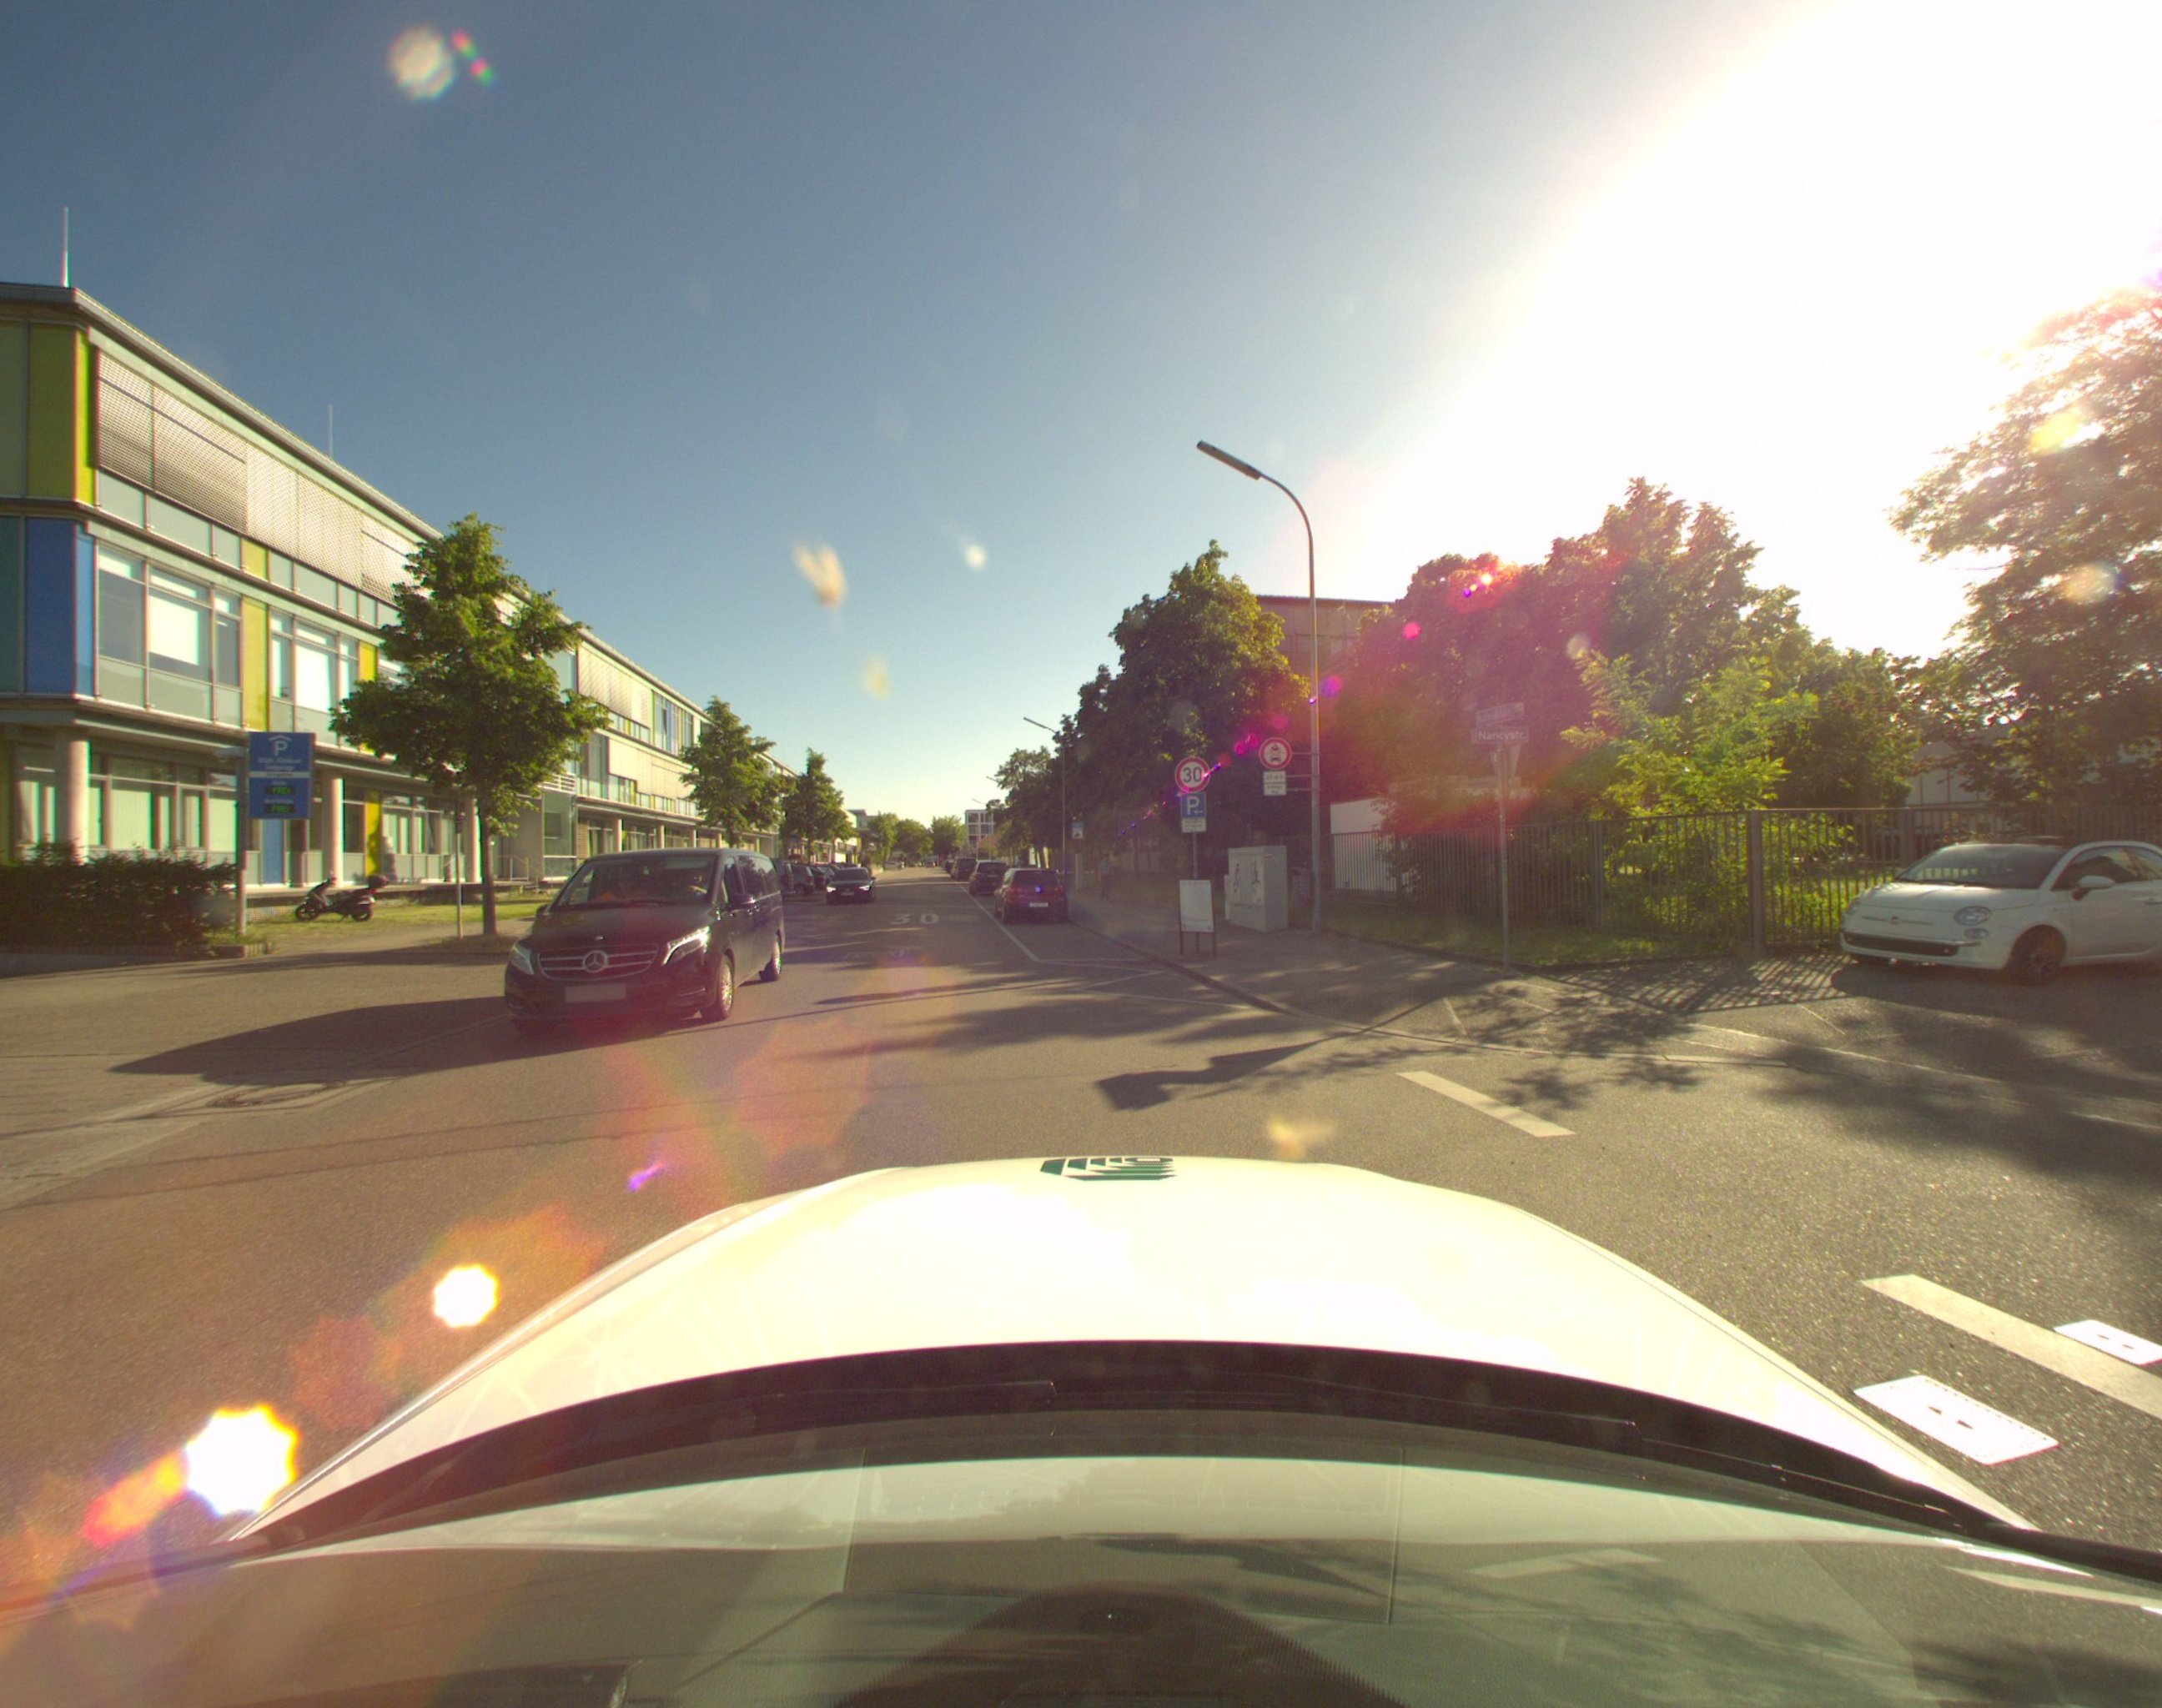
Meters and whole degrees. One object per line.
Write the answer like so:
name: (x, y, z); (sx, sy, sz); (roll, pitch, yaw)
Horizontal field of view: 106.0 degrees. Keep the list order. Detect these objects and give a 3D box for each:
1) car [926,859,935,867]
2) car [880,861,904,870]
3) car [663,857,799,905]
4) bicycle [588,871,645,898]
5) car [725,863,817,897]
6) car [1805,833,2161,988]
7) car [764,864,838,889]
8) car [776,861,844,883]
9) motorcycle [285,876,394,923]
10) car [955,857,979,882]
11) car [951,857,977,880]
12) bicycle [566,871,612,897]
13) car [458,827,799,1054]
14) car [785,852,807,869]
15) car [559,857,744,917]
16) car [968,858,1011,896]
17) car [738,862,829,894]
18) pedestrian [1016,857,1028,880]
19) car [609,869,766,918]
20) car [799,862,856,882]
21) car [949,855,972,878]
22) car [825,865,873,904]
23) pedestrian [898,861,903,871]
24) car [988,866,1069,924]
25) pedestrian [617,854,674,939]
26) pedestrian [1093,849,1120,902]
car: (-30.086, 1.877, 162.315); (1.744, 1.543, 3.985); (0, -1, -11)
car: (-34.167, 2.025, 147.337); (3.988, 1.519, 1.993); (-1, -2, -11)
car: (-14.118, 1.082, 33.122); (4.743, 1.865, 1.821); (0, -1, -11)
bicycle: (-20.871, 1.359, 36.687); (0.863, 1.153, 2.379); (0, -1, 11)
car: (-15.145, 1.273, 40.019); (3.993, 1.607, 1.863); (0, -1, -15)
car: (10.428, 0.544, 9.131); (3.546, 1.486, 1.595); (-1, 0, -10)
car: (-16.643, 1.345, 48.562); (3.993, 1.358, 1.734); (-1, 0, -15)
car: (-18.378, 1.244, 55.383); (4.220, 1.462, 1.863); (0, -1, -15)
motorcycle: (-19.032, 1.164, 20.933); (2.045, 1.149, 0.497); (2, 0, -13)
car: (-8.916, 1.168, 63.426); (1.733, 1.830, 3.891); (-1, 0, -10)
car: (-10.038, 1.189, 69.543); (1.994, 1.823, 4.183); (-2, 0, -11)
bicycle: (-22.326, 1.346, 36.995); (0.866, 1.153, 1.991); (1, -1, -1)
car: (-4.886, 0.792, 9.834); (1.956, 1.867, 5.235); (-3, 0, -11)
car: (-35.547, 0.787, 101.546); (1.994, 2.014, 3.985); (-1, -2, -11)
car: (-12.977, 0.972, 24.884); (4.608, 1.651, 1.863); (-1, -1, -8)
car: (-4.424, 1.057, 38.965); (1.812, 1.666, 4.577); (0, 0, -9)
car: (-15.602, 1.262, 42.930); (4.253, 1.612, 2.038); (0, -1, -15)
pedestrian: (-4.244, 1.042, 58.727); (0.698, 1.661, 0.749); (-4, 0, -11)
car: (-13.200, 1.295, 27.565); (4.435, 1.501, 1.821); (-1, -1, -11)
car: (-20.210, 1.438, 65.156); (4.220, 1.603, 1.863); (0, -1, -15)
car: (-11.204, 1.150, 75.658); (1.875, 1.978, 3.985); (-2, 0, -11)
car: (-9.625, 1.239, 34.033); (1.706, 1.451, 4.067); (-2, 0, -13)
pedestrian: (-31.019, 2.038, 140.000); (0.619, 1.624, 0.713); (-2, 0, -11)
car: (-1.597, 1.075, 23.233); (1.720, 1.455, 4.634); (0, -1, -11)
pedestrian: (-9.713, 0.937, 18.194); (0.857, 1.842, 0.823); (1, -1, -9)
pedestrian: (0.882, 0.744, 28.482); (0.718, 1.758, 0.881); (-3, 0, -10)
